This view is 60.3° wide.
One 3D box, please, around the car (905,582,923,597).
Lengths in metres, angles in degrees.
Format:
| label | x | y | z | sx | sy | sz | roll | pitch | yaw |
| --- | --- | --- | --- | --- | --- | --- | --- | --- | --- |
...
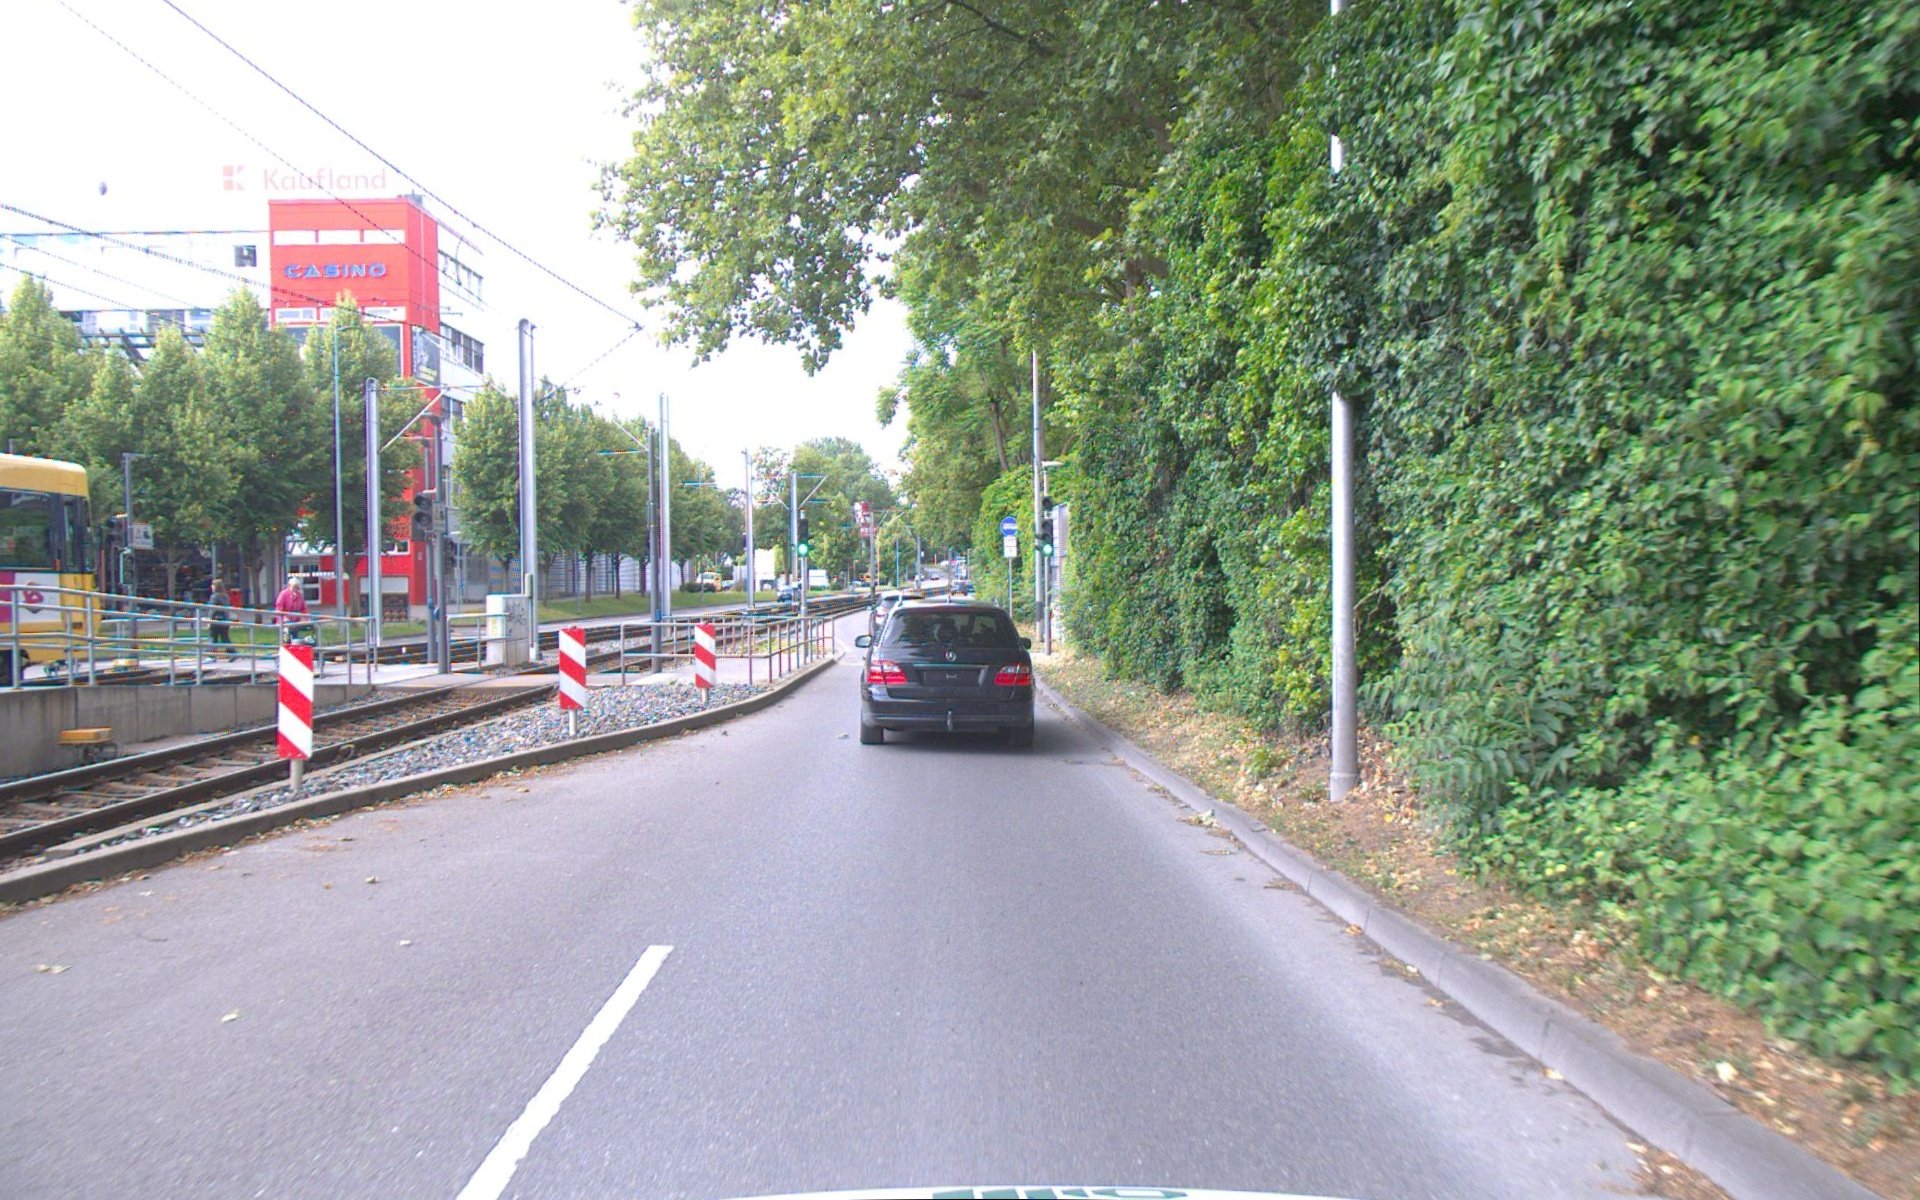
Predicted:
| label | x | y | z | sx | sy | sz | roll | pitch | yaw |
| --- | --- | --- | --- | --- | --- | --- | --- | --- | --- |
| car | -4.960 | -1.132 | 178.081 | 1.787 | 1.556 | 3.987 | 0 | 1 | 1 |

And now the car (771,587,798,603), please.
| label | x | y | z | sx | sy | sz | roll | pitch | yaw |
| --- | --- | --- | --- | --- | --- | --- | --- | --- | --- |
| car | -15.255 | -0.450 | 143.885 | 1.625 | 1.417 | 3.721 | 0 | 1 | 4 |

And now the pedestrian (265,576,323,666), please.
| label | x | y | z | sx | sy | sz | roll | pitch | yaw |
| --- | --- | --- | --- | --- | --- | --- | --- | --- | --- |
| pedestrian | -12.777 | 0.390 | 31.760 | 0.600 | 1.682 | 0.796 | -2 | 0 | 20 |

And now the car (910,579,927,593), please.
| label | x | y | z | sx | sy | sz | roll | pitch | yaw |
| --- | --- | --- | --- | --- | --- | --- | --- | --- | --- |
| car | -4.584 | -1.579 | 182.974 | 1.787 | 1.556 | 3.987 | 0 | 1 | 1 |

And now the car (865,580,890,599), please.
| label | x | y | z | sx | sy | sz | roll | pitch | yaw |
| --- | --- | --- | --- | --- | --- | --- | --- | --- | --- |
| car | -6.650 | -0.852 | 134.023 | 1.787 | 1.556 | 3.928 | 0 | 1 | 1 |

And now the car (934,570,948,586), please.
| label | x | y | z | sx | sy | sz | roll | pitch | yaw |
| --- | --- | --- | --- | --- | --- | --- | --- | --- | --- |
| car | -2.581 | -3.005 | 223.013 | 1.853 | 2.049 | 3.897 | -2 | 0 | -1 |

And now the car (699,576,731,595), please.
| label | x | y | z | sx | sy | sz | roll | pitch | yaw |
| --- | --- | --- | --- | --- | --- | --- | --- | --- | --- |
| car | -23.333 | -1.384 | 157.658 | 1.952 | 1.773 | 4.990 | -1 | 1 | 3 |

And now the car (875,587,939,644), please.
| label | x | y | z | sx | sy | sz | roll | pitch | yaw |
| --- | --- | --- | --- | --- | --- | --- | --- | --- | --- |
| car | -1.527 | 0.422 | 48.457 | 1.788 | 1.556 | 4.415 | 0 | 1 | -1 |

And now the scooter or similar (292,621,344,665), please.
| label | x | y | z | sx | sy | sz | roll | pitch | yaw |
| --- | --- | --- | --- | --- | --- | --- | --- | --- | --- |
| scooter or similar | -12.249 | 0.814 | 31.566 | 0.485 | 0.781 | 0.799 | -2 | 0 | 20 |

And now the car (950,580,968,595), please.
| label | x | y | z | sx | sy | sz | roll | pitch | yaw |
| --- | --- | --- | --- | --- | --- | --- | --- | --- | --- |
| car | -0.087 | -1.287 | 168.727 | 1.787 | 1.556 | 4.416 | -1 | 1 | 1 |

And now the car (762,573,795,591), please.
| label | x | y | z | sx | sy | sz | roll | pitch | yaw |
| --- | --- | --- | --- | --- | --- | --- | --- | --- | --- |
| car | -22.901 | -2.248 | 208.738 | 3.910 | 2.160 | 1.998 | -2 | 0 | -6 |

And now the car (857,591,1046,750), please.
| label | x | y | z | sx | sy | sz | roll | pitch | yaw |
| --- | --- | --- | --- | --- | --- | --- | --- | --- | --- |
| car | -0.081 | 0.656 | 17.886 | 1.796 | 1.504 | 4.416 | 0 | 0 | 0 |

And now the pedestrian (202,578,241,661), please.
| label | x | y | z | sx | sy | sz | roll | pitch | yaw |
| --- | --- | --- | --- | --- | --- | --- | --- | --- | --- |
| pedestrian | -15.400 | 0.406 | 34.487 | 0.505 | 1.691 | 0.466 | -2 | 0 | 10 |

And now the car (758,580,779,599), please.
| label | x | y | z | sx | sy | sz | roll | pitch | yaw |
| --- | --- | --- | --- | --- | --- | --- | --- | --- | --- |
| car | -21.810 | -1.186 | 188.197 | 1.953 | 2.049 | 3.999 | -2 | 0 | -1 |

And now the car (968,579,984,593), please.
| label | x | y | z | sx | sy | sz | roll | pitch | yaw |
| --- | --- | --- | --- | --- | --- | --- | --- | --- | --- |
| car | 1.755 | -1.543 | 184.069 | 1.787 | 1.556 | 4.180 | 0 | 1 | 1 |

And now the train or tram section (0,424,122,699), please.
| label | x | y | z | sx | sy | sz | roll | pitch | yaw |
| --- | --- | --- | --- | --- | --- | --- | --- | --- | --- |
| train or tram section | -15.042 | -0.458 | 17.308 | 2.699 | 3.895 | 18.634 | -1 | 1 | 1 |
